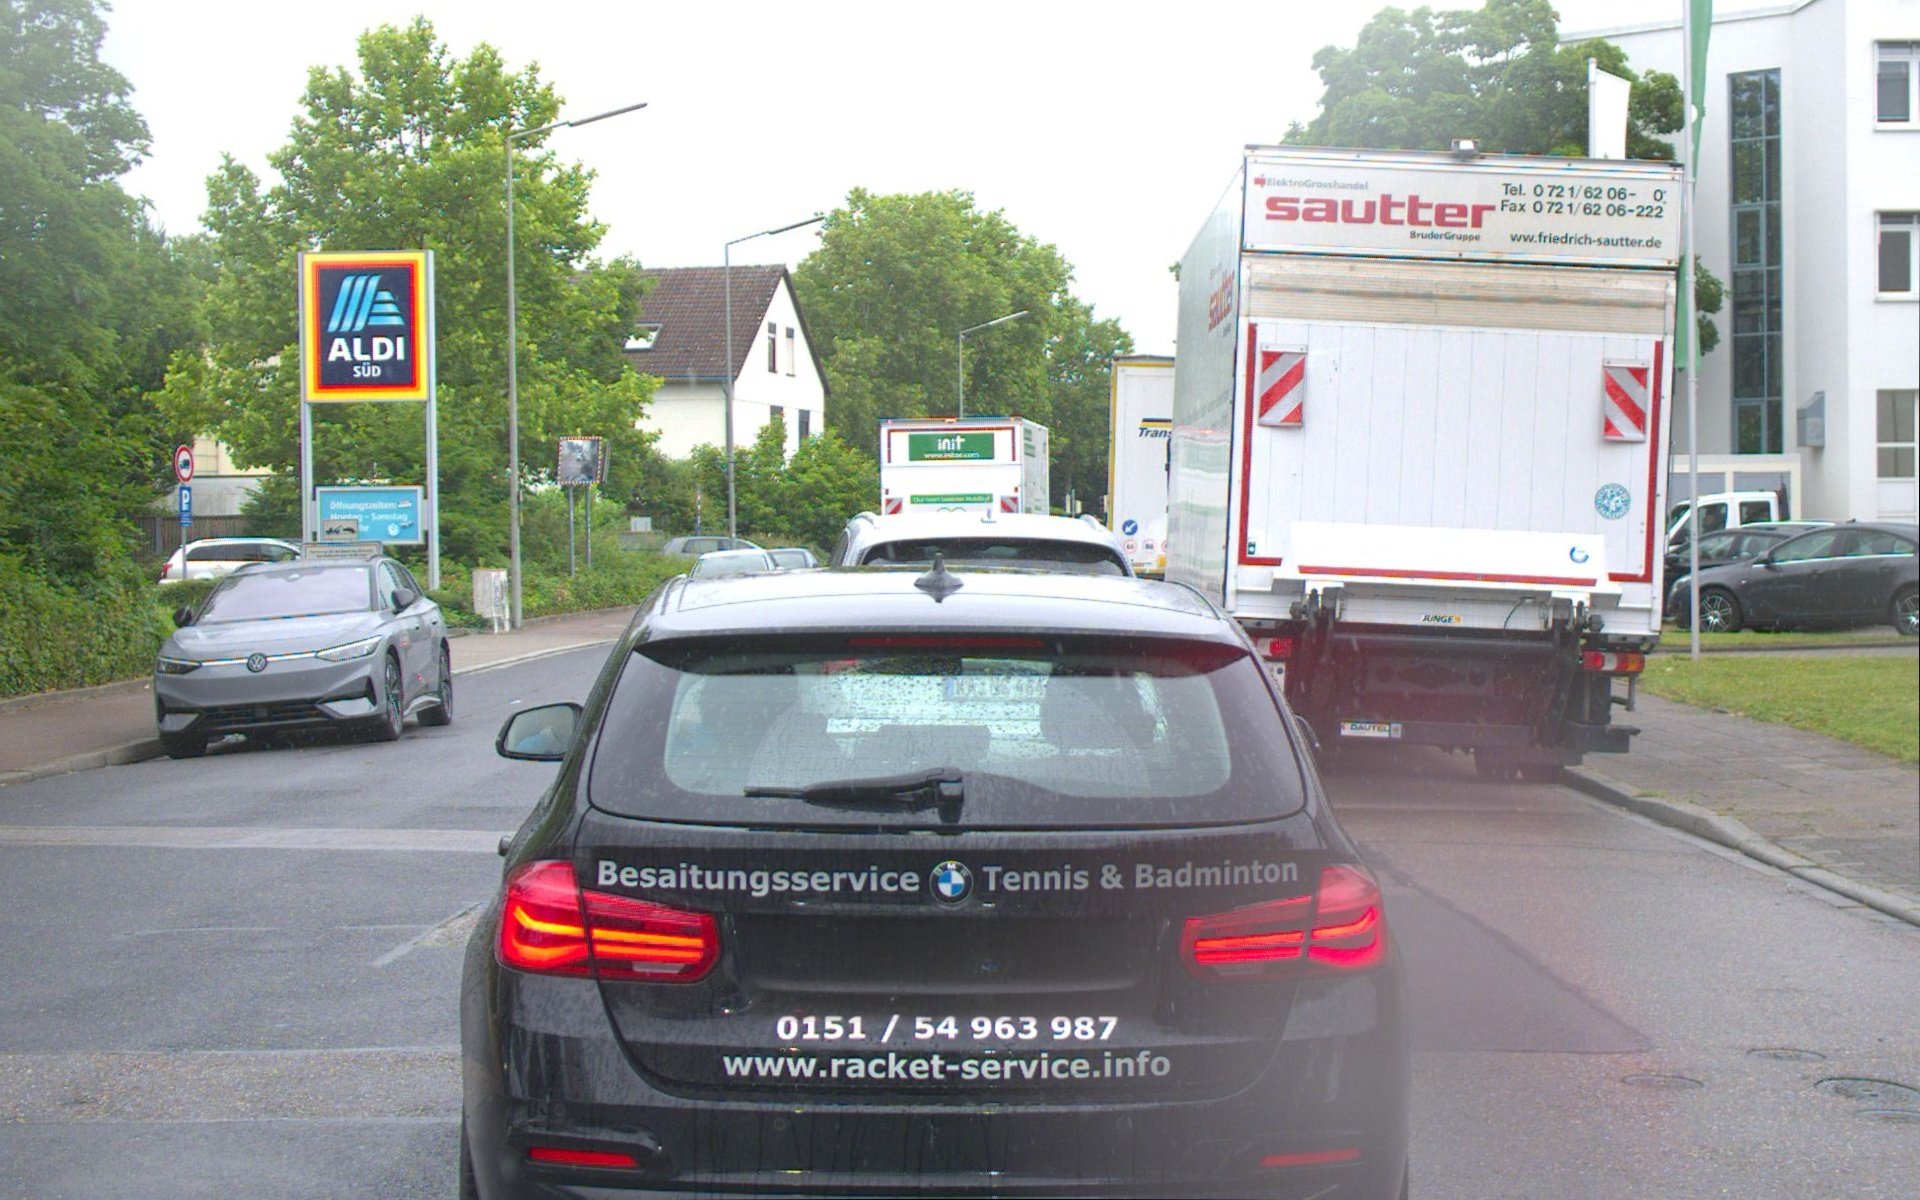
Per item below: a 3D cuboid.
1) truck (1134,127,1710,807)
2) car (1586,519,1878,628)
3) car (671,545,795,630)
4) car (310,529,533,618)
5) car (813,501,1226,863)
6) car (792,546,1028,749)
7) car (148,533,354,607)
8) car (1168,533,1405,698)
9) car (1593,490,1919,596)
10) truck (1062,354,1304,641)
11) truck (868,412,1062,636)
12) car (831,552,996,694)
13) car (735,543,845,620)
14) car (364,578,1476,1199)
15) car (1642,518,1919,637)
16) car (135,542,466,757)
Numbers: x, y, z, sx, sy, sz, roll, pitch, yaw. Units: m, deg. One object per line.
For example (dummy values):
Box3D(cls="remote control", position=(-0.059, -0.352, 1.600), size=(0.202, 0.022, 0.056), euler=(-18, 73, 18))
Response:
Box3D(cls="truck", position=(2.865, -0.844, 24.246), size=(2.741, 3.776, 9.299), euler=(2, 1, 0))
Box3D(cls="car", position=(11.317, -0.414, 50.532), size=(3.777, 1.392, 1.723), euler=(4, 4, 40))
Box3D(cls="car", position=(-4.046, -0.252, 61.886), size=(1.705, 1.362, 4.601), euler=(-3, 1, 2))
Box3D(cls="car", position=(-9.386, -0.479, 60.062), size=(3.570, 1.455, 1.712), euler=(1, 1, 2))
Box3D(cls="car", position=(0.200, 0.337, 17.079), size=(1.804, 1.581, 4.000), euler=(0, 1, -2))
Box3D(cls="car", position=(-0.442, 0.342, 28.424), size=(1.804, 1.547, 4.000), euler=(0, 1, -2))
Box3D(cls="car", position=(-15.177, -0.656, 73.679), size=(3.987, 1.535, 1.911), euler=(0, 1, 1))
Box3D(cls="car", position=(3.018, 0.092, 32.561), size=(1.797, 1.436, 4.345), euler=(-1, 1, 0))
Box3D(cls="car", position=(15.822, -1.108, 67.215), size=(6.452, 2.007, 2.000), euler=(0, 0, -4))
Box3D(cls="truck", position=(2.973, -1.390, 47.974), size=(2.741, 3.598, 7.750), euler=(2, 1, 0))
Box3D(cls="truck", position=(0.187, -1.345, 55.162), size=(2.342, 3.245, 7.750), euler=(3, 3, 5))
Box3D(cls="car", position=(-0.569, 0.228, 39.842), size=(1.804, 1.547, 4.000), euler=(0, 1, -2))
Box3D(cls="car", position=(-3.331, -0.389, 67.962), size=(1.706, 1.362, 3.838), euler=(-3, 1, 4))
Box3D(cls="car", position=(-0.124, 0.665, 7.598), size=(1.804, 1.390, 4.000), euler=(0, 1, -2))
Box3D(cls="car", position=(11.255, -0.303, 43.947), size=(4.671, 1.463, 1.787), euler=(0, 1, 38))
Box3D(cls="car", position=(-5.418, 0.345, 28.844), size=(1.809, 1.523, 4.748), euler=(-4, 1, -1))
